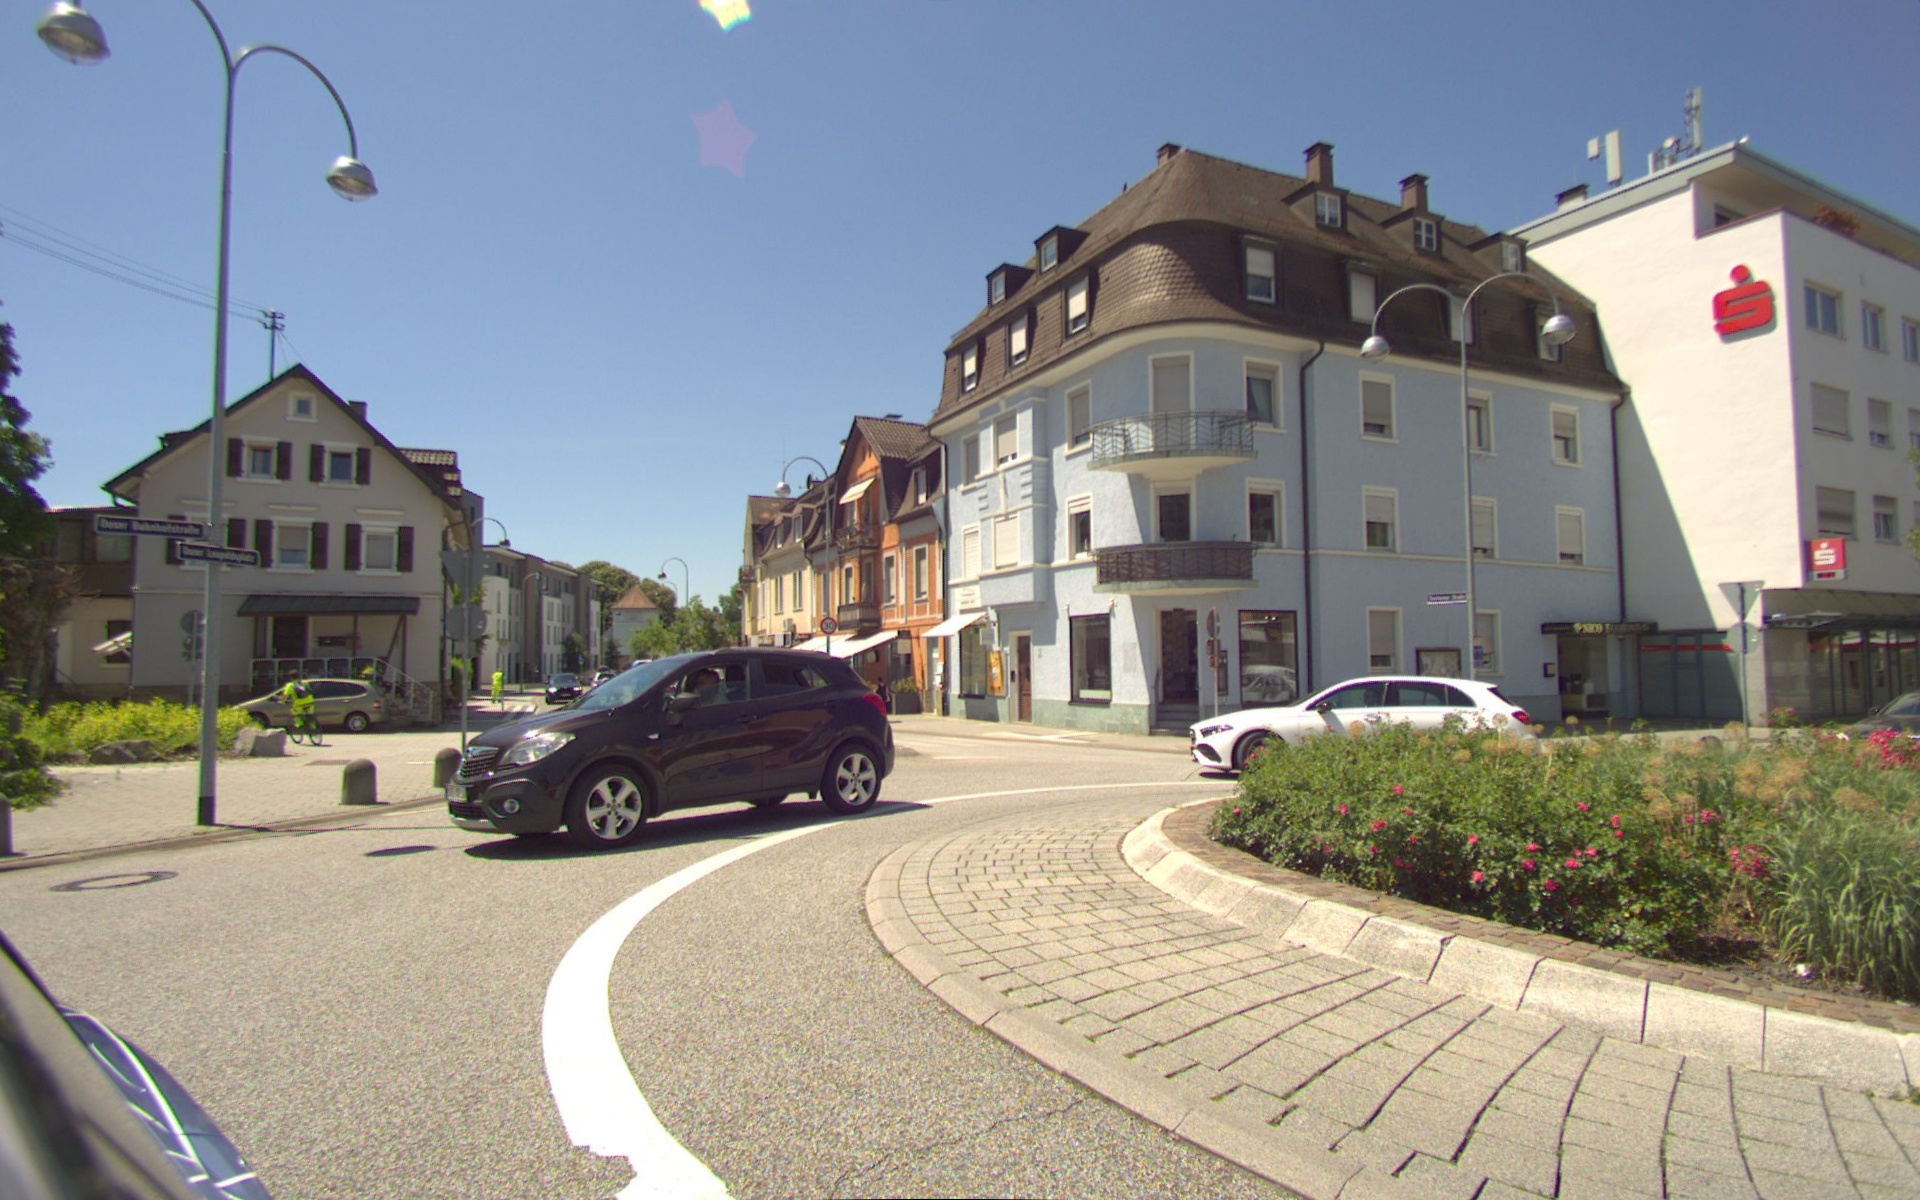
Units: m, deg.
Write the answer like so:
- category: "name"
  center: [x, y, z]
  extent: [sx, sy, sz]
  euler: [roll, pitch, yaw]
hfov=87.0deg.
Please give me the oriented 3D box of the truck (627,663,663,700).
- category: "truck"
  center: [-21.318, 5.489, 68.378]
  extent: [1.928, 2.388, 4.350]
  euler: [-1, -4, -22]

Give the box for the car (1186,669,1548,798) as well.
- category: "car"
  center: [5.274, 1.778, 13.743]
  extent: [4.245, 1.392, 1.925]
  euler: [1, -7, 13]

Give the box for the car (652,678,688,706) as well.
- category: "car"
  center: [-17.516, 5.500, 61.048]
  extent: [1.654, 1.558, 3.605]
  euler: [-1, -4, -22]

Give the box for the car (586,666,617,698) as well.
- category: "car"
  center: [-25.168, 5.733, 71.152]
  extent: [1.898, 2.124, 4.463]
  euler: [2, -5, -18]

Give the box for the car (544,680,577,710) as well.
- category: "car"
  center: [-23.375, 5.522, 59.204]
  extent: [1.724, 1.558, 3.605]
  euler: [-1, -4, -22]

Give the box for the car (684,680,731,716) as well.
- category: "car"
  center: [-12.172, 4.653, 48.620]
  extent: [1.654, 1.558, 3.958]
  euler: [-1, -4, -22]

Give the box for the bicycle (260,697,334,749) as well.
- category: "bicycle"
  center: [-16.015, 2.961, 24.428]
  extent: [1.848, 1.165, 0.801]
  euler: [-3, -8, 36]

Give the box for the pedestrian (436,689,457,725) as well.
- category: "pedestrian"
  center: [-19.317, 4.011, 38.078]
  extent: [0.673, 1.296, 0.583]
  euler: [2, -5, -28]

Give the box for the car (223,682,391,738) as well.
- category: "car"
  center: [-19.520, 3.287, 30.466]
  extent: [3.930, 1.608, 1.800]
  euler: [2, -6, -23]

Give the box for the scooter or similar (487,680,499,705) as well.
- category: "scooter or similar"
  center: [-26.430, 5.221, 57.276]
  extent: [0.518, 1.384, 1.351]
  euler: [1, -4, -20]

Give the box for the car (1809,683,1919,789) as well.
- category: "car"
  center: [15.684, 2.018, 15.574]
  extent: [4.627, 1.489, 2.006]
  euler: [1, -6, -23]

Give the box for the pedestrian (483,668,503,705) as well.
- category: "pedestrian"
  center: [-26.450, 4.874, 57.347]
  extent: [0.905, 2.046, 0.903]
  euler: [1, -4, -20]

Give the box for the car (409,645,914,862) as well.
- category: "car"
  center: [-2.672, 1.275, 9.568]
  extent: [4.102, 1.574, 2.002]
  euler: [2, -7, -43]

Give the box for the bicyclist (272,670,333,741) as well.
- category: "bicyclist"
  center: [-15.812, 2.527, 24.338]
  extent: [1.061, 1.647, 0.800]
  euler: [-3, -8, 37]
